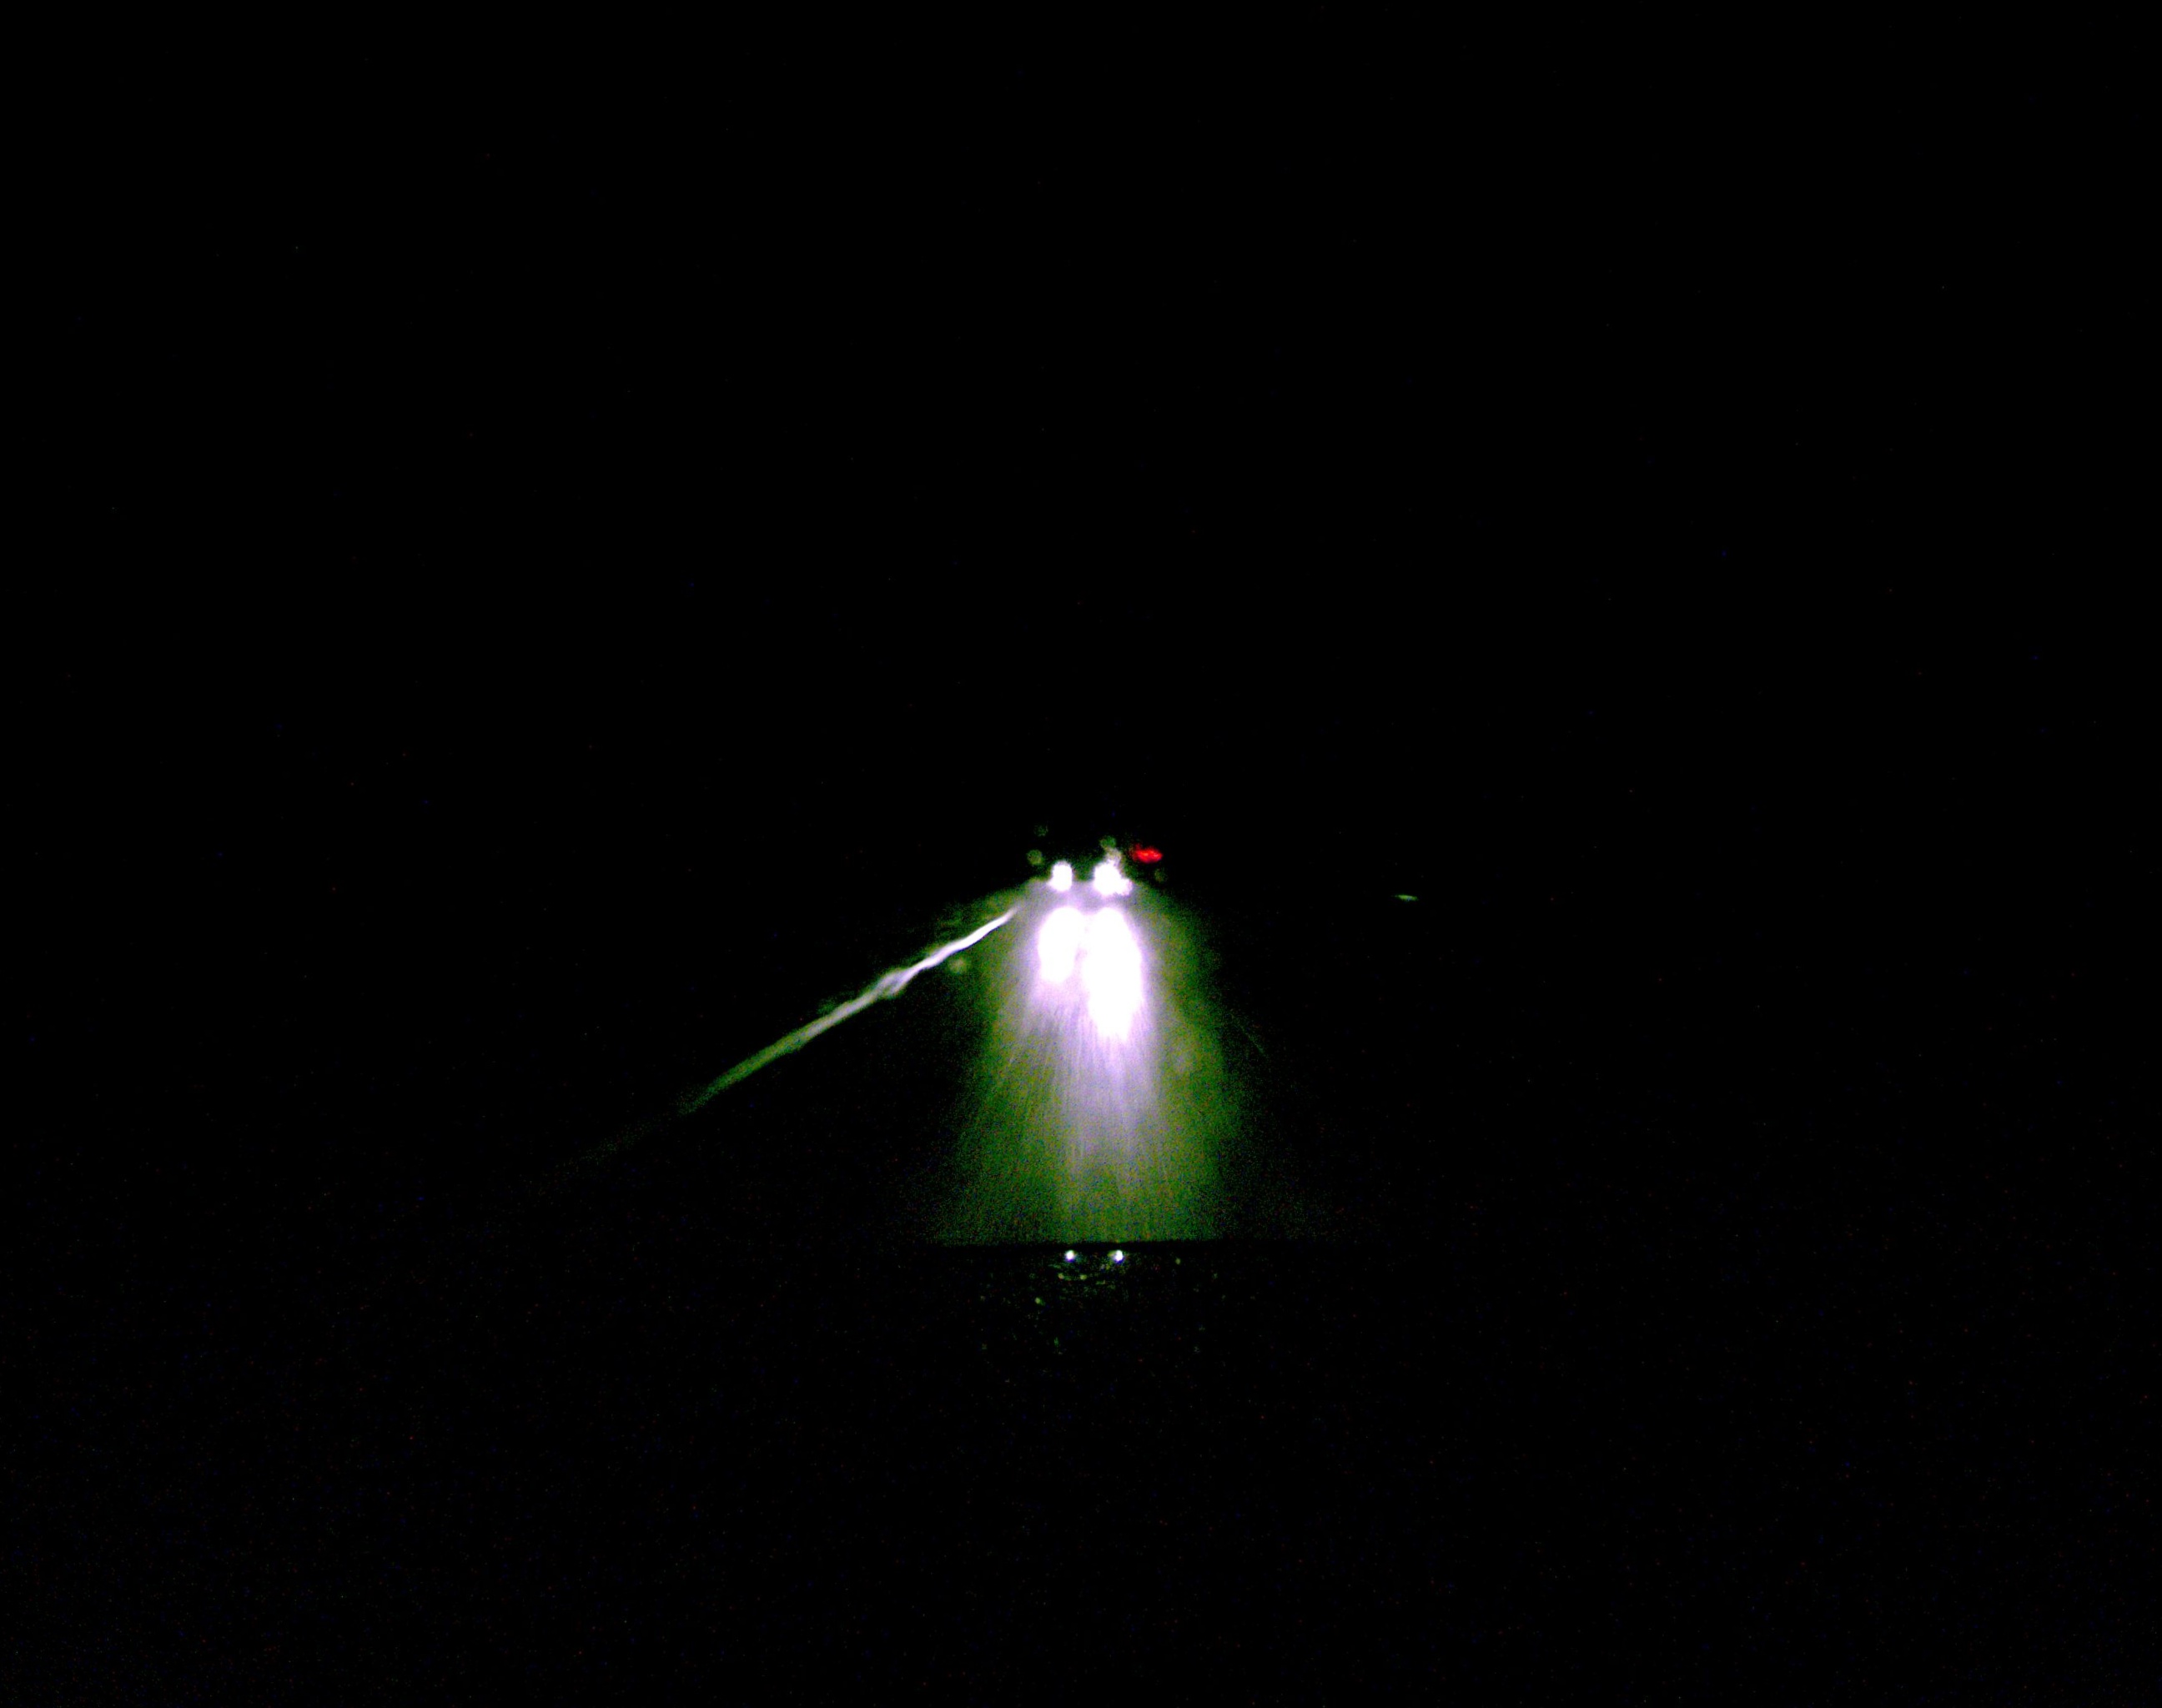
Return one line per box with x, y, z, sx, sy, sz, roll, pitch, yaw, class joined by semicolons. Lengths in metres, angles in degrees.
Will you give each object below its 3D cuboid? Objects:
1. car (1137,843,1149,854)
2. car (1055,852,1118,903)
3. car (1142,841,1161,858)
10.809;-1.017;132.585;1.998;1.806;4.000;1;1;4;car
0.277;0.766;26.417;1.792;1.593;4.001;-2;0;5;car
8.096;-0.535;87.517;1.998;1.806;4.000;1;1;4;car
